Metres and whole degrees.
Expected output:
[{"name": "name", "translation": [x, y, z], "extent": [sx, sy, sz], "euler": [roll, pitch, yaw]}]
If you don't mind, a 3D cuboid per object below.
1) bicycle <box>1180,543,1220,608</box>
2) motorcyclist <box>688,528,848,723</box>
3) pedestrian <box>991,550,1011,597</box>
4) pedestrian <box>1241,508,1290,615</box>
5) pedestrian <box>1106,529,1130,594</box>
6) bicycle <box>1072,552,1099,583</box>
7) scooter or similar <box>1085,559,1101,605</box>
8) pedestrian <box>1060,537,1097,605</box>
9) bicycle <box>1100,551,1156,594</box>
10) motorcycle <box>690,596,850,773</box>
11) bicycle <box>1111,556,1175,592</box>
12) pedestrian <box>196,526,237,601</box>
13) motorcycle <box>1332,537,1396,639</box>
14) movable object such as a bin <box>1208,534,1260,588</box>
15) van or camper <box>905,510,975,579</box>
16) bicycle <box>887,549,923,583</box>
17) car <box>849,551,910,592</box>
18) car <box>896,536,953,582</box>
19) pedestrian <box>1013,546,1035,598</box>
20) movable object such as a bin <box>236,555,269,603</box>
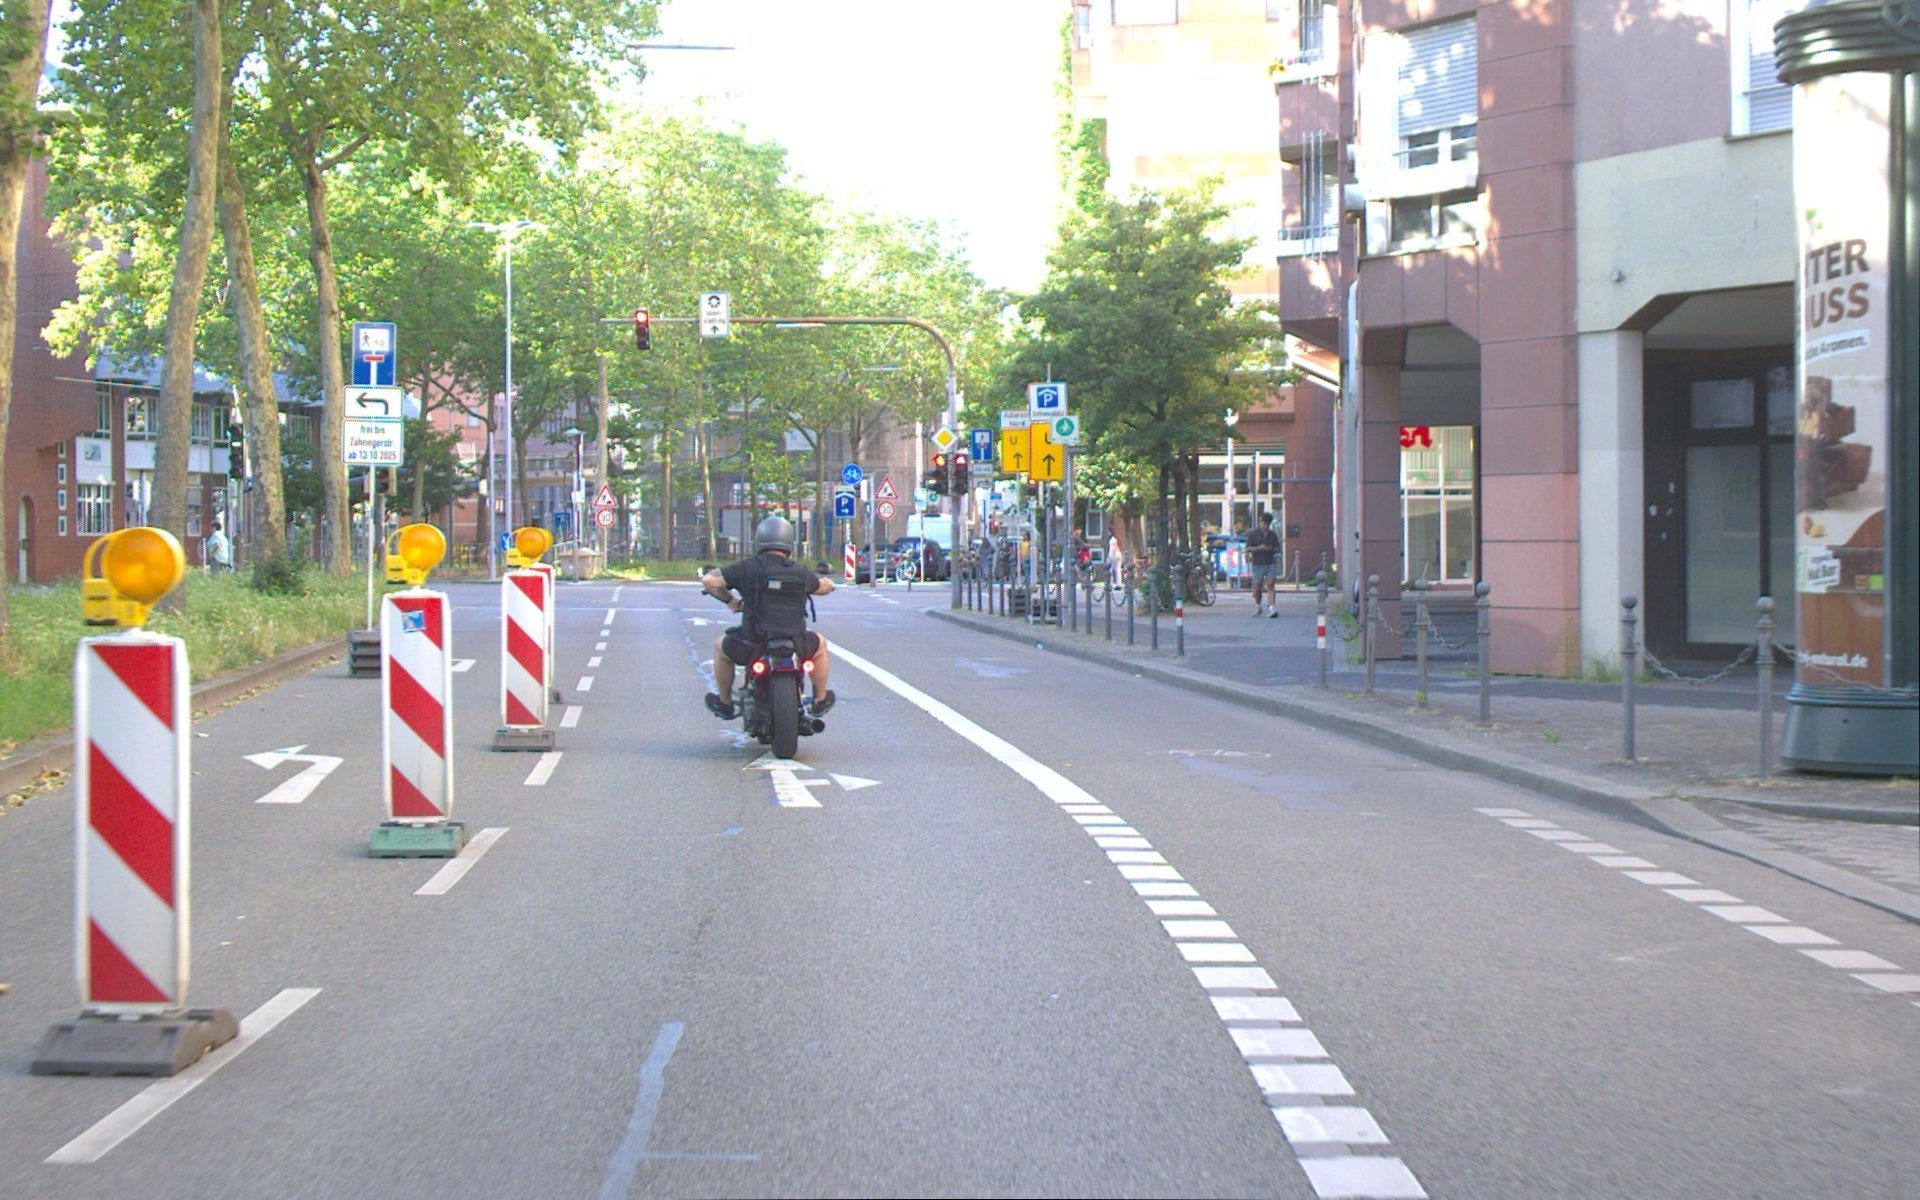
[{"name": "bicycle", "translation": [4.626, -0.487, 66.198], "extent": [0.622, 1.221, 1.926], "euler": [0, 1, 8]}, {"name": "motorcyclist", "translation": [-1.286, 0.163, 23.153], "extent": [1.011, 1.258, 0.774], "euler": [2, 1, -2]}, {"name": "pedestrian", "translation": [1.352, -0.892, 114.549], "extent": [0.644, 1.573, 0.748], "euler": [0, 1, -1]}, {"name": "pedestrian", "translation": [4.992, -0.639, 56.266], "extent": [0.781, 1.732, 0.837], "euler": [0, 1, 4]}, {"name": "pedestrian", "translation": [4.071, -0.984, 88.700], "extent": [0.459, 1.667, 0.680], "euler": [0, 1, -13]}, {"name": "bicycle", "translation": [3.855, -0.996, 105.792], "extent": [0.737, 0.936, 1.752], "euler": [0, 1, 0]}, {"name": "scooter or similar", "translation": [3.446, -0.467, 88.853], "extent": [0.394, 1.154, 1.249], "euler": [0, 1, 1]}, {"name": "pedestrian", "translation": [3.062, -0.762, 88.921], "extent": [0.785, 1.757, 0.610], "euler": [0, 1, -17]}, {"name": "bicycle", "translation": [4.766, -0.781, 97.505], "extent": [1.567, 1.223, 0.577], "euler": [0, 1, 2]}, {"name": "motorcycle", "translation": [-1.278, 0.543, 23.069], "extent": [1.018, 1.093, 2.008], "euler": [0, 1, -3]}, {"name": "bicycle", "translation": [5.353, -0.768, 100.617], "extent": [1.748, 1.049, 0.738], "euler": [0, 1, 23]}, {"name": "pedestrian", "translation": [-14.997, -0.733, 69.341], "extent": [0.619, 1.498, 0.534], "euler": [0, 1, 19]}, {"name": "motorcycle", "translation": [5.556, -0.183, 47.389], "extent": [0.488, 1.368, 2.091], "euler": [0, 1, -4]}, {"name": "movable object such as a bin", "translation": [7.564, -1.073, 94.891], "extent": [1.410, 1.477, 0.871], "euler": [0, 1, 7]}, {"name": "van or camper", "translation": [-0.728, -2.081, 129.829], "extent": [2.049, 2.532, 5.772], "euler": [0, 1, 5]}, {"name": "bicycle", "translation": [-1.709, -1.051, 106.079], "extent": [0.737, 1.049, 1.753], "euler": [0, 1, -14]}, {"name": "car", "translation": [-2.633, -0.950, 113.096], "extent": [1.620, 1.298, 4.311], "euler": [0, 1, 4]}, {"name": "car", "translation": [-1.261, -1.487, 123.057], "extent": [1.620, 1.614, 4.484], "euler": [0, 1, 5]}, {"name": "pedestrian", "translation": [2.142, -0.938, 114.515], "extent": [0.700, 1.727, 0.768], "euler": [0, 1, -1]}, {"name": "movable object such as a bin", "translation": [-14.328, -0.431, 69.622], "extent": [0.510, 0.950, 0.539], "euler": [0, 1, 9]}]
